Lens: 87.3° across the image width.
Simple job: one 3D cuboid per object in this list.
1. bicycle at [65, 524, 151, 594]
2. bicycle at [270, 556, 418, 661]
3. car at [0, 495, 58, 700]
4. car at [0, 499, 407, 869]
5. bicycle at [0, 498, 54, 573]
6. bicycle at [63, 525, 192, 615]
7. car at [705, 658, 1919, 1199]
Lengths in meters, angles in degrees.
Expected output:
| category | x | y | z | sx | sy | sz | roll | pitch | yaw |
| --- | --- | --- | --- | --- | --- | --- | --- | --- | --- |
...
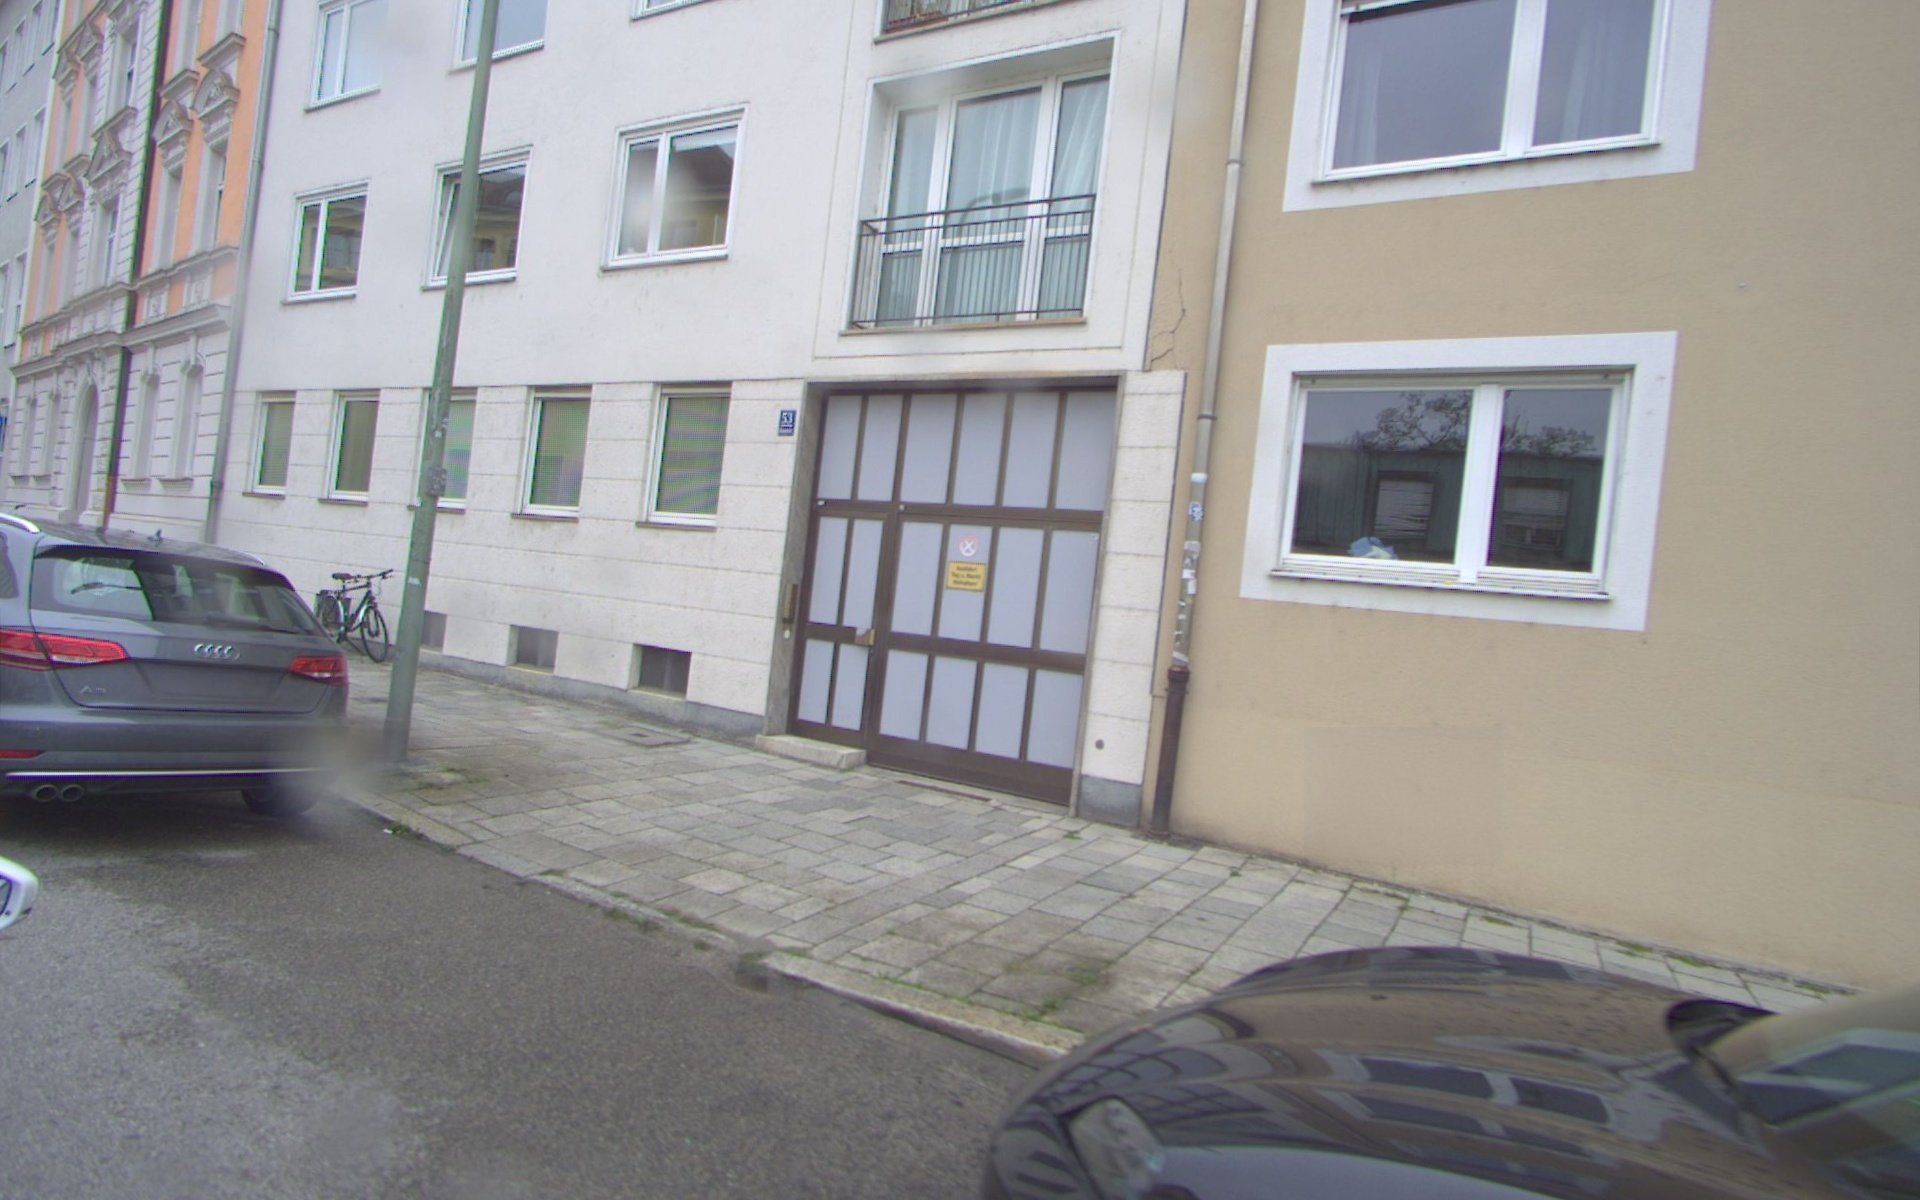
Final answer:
| category | x | y | z | sx | sy | sz | roll | pitch | yaw |
| --- | --- | --- | --- | --- | --- | --- | --- | --- | --- |
| bicycle | -14.753 | -0.721 | 17.412 | 1.788 | 1.037 | 0.596 | 6 | 1 | 33 |
| bicycle | -7.709 | 0.101 | 12.573 | 1.965 | 1.085 | 0.530 | 6 | 0 | 27 |
| car | -9.251 | -0.259 | 8.297 | 4.478 | 1.512 | 1.743 | 6 | -1 | 37 |
| car | -5.338 | 0.234 | 5.706 | 4.327 | 1.470 | 1.711 | 6 | -4 | 30 |
| bicycle | -19.326 | -1.348 | 20.585 | 2.058 | 1.402 | 0.596 | 6 | 1 | 33 |
| bicycle | -12.457 | -0.454 | 15.037 | 1.960 | 1.126 | 0.724 | 6 | 0 | 29 |
| car | 2.224 | 1.113 | 1.332 | 5.026 | 1.431 | 1.959 | 6 | -2 | 30 |
